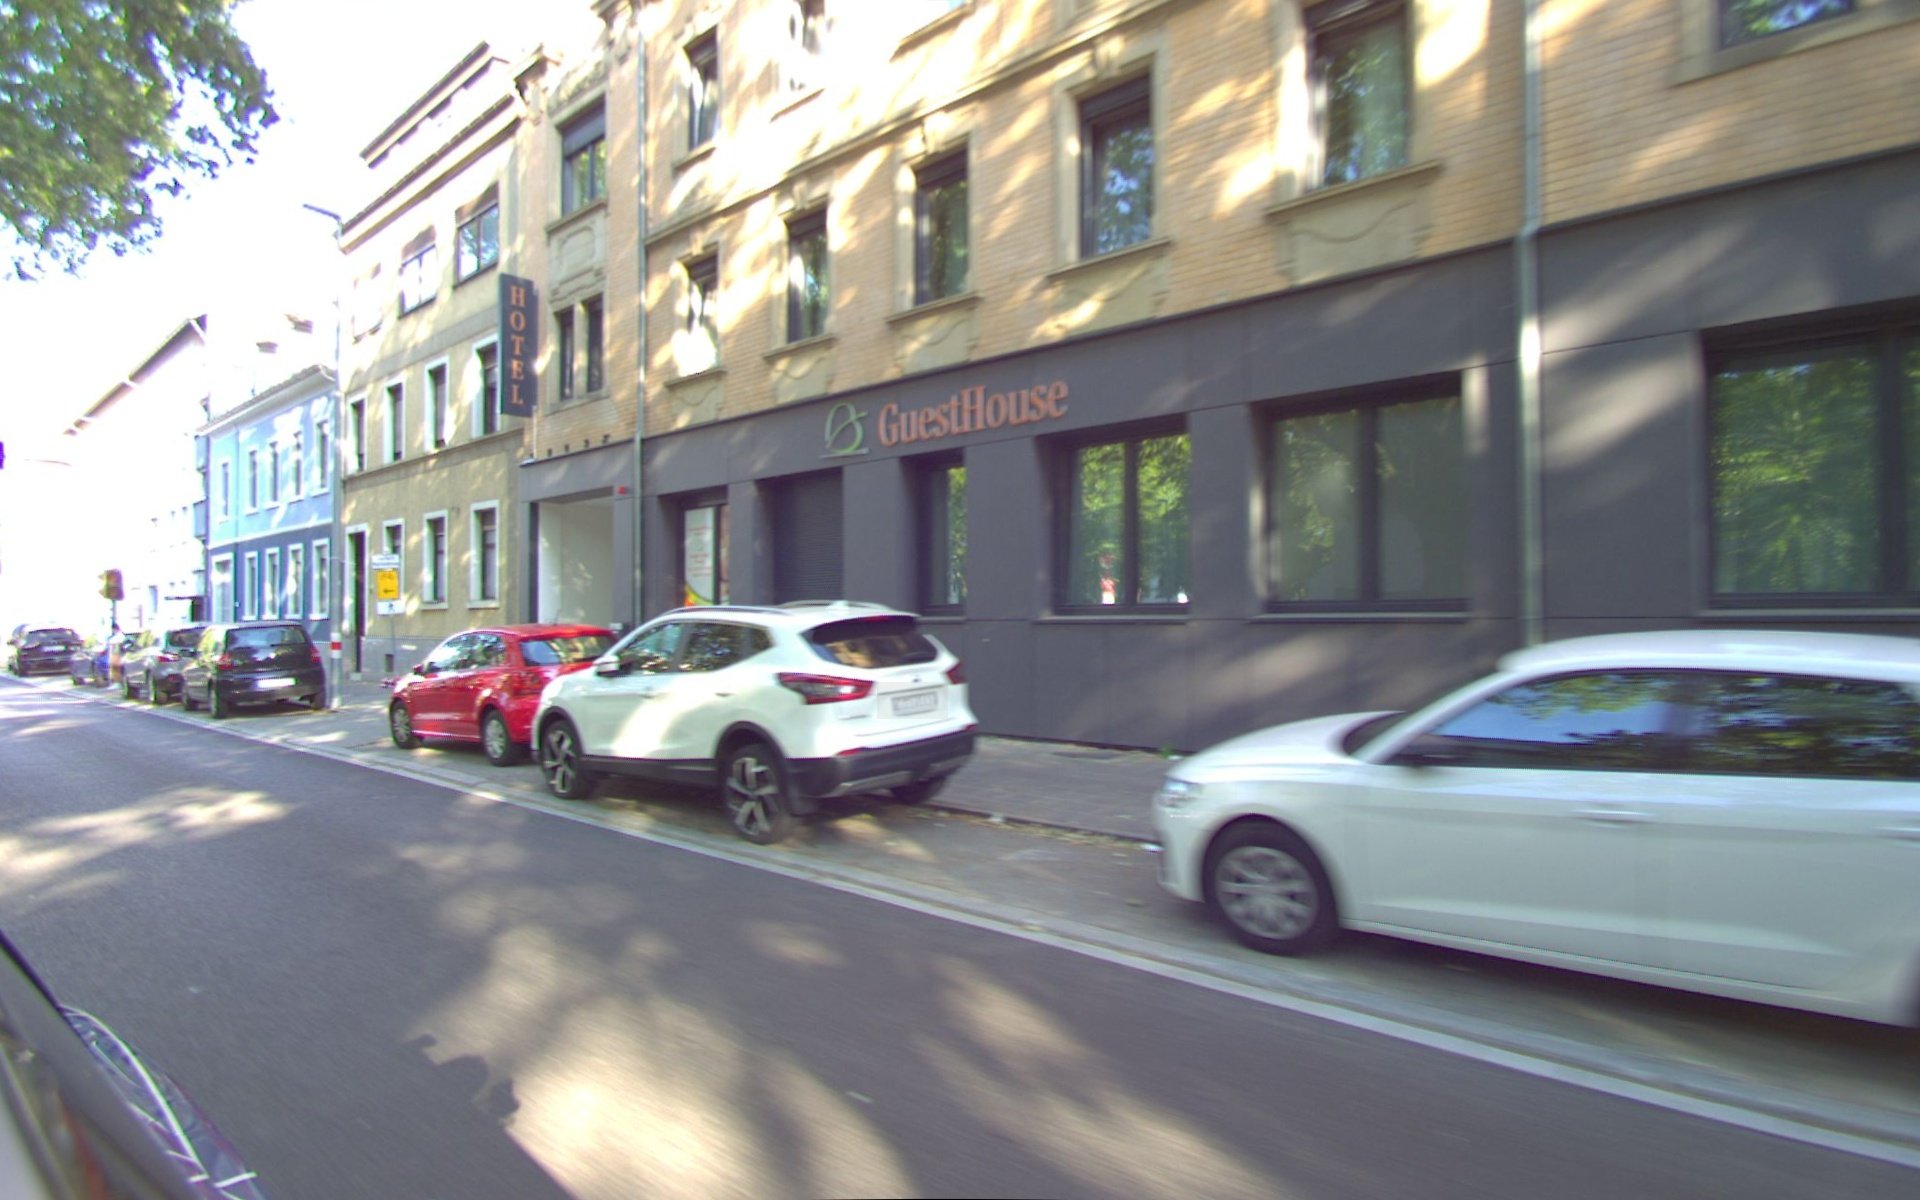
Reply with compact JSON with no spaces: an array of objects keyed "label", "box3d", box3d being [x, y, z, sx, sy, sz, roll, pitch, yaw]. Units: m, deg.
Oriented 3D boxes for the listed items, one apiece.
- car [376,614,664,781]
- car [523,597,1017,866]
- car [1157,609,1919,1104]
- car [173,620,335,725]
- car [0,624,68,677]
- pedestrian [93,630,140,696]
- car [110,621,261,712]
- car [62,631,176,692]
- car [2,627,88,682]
[{"label":"car","box3d":[-5.230,1.006,11.826,3.755,1.604,1.660,-2,-1,42]},{"label":"car","box3d":[-1.710,0.833,8.095,4.198,1.597,1.660,-2,-1,42]},{"label":"car","box3d":[2.962,0.820,4.265,3.870,1.508,1.660,-2,-1,42]},{"label":"car","box3d":[-12.616,1.208,18.010,3.706,1.617,1.659,-2,-1,44]},{"label":"car","box3d":[-34.842,1.870,37.958,4.004,1.832,1.646,-2,-1,43]},{"label":"pedestrian","box3d":[-20.911,1.549,25.090,0.852,1.582,0.707,2,-3,-42]},{"label":"car","box3d":[-16.371,1.334,21.323,4.154,1.685,1.763,-2,-1,42]},{"label":"car","box3d":[-22.866,1.618,27.464,4.258,1.498,1.633,-2,-1,40]},{"label":"car","box3d":[-30.990,1.779,34.233,4.494,1.685,1.884,-2,-1,45]}]
